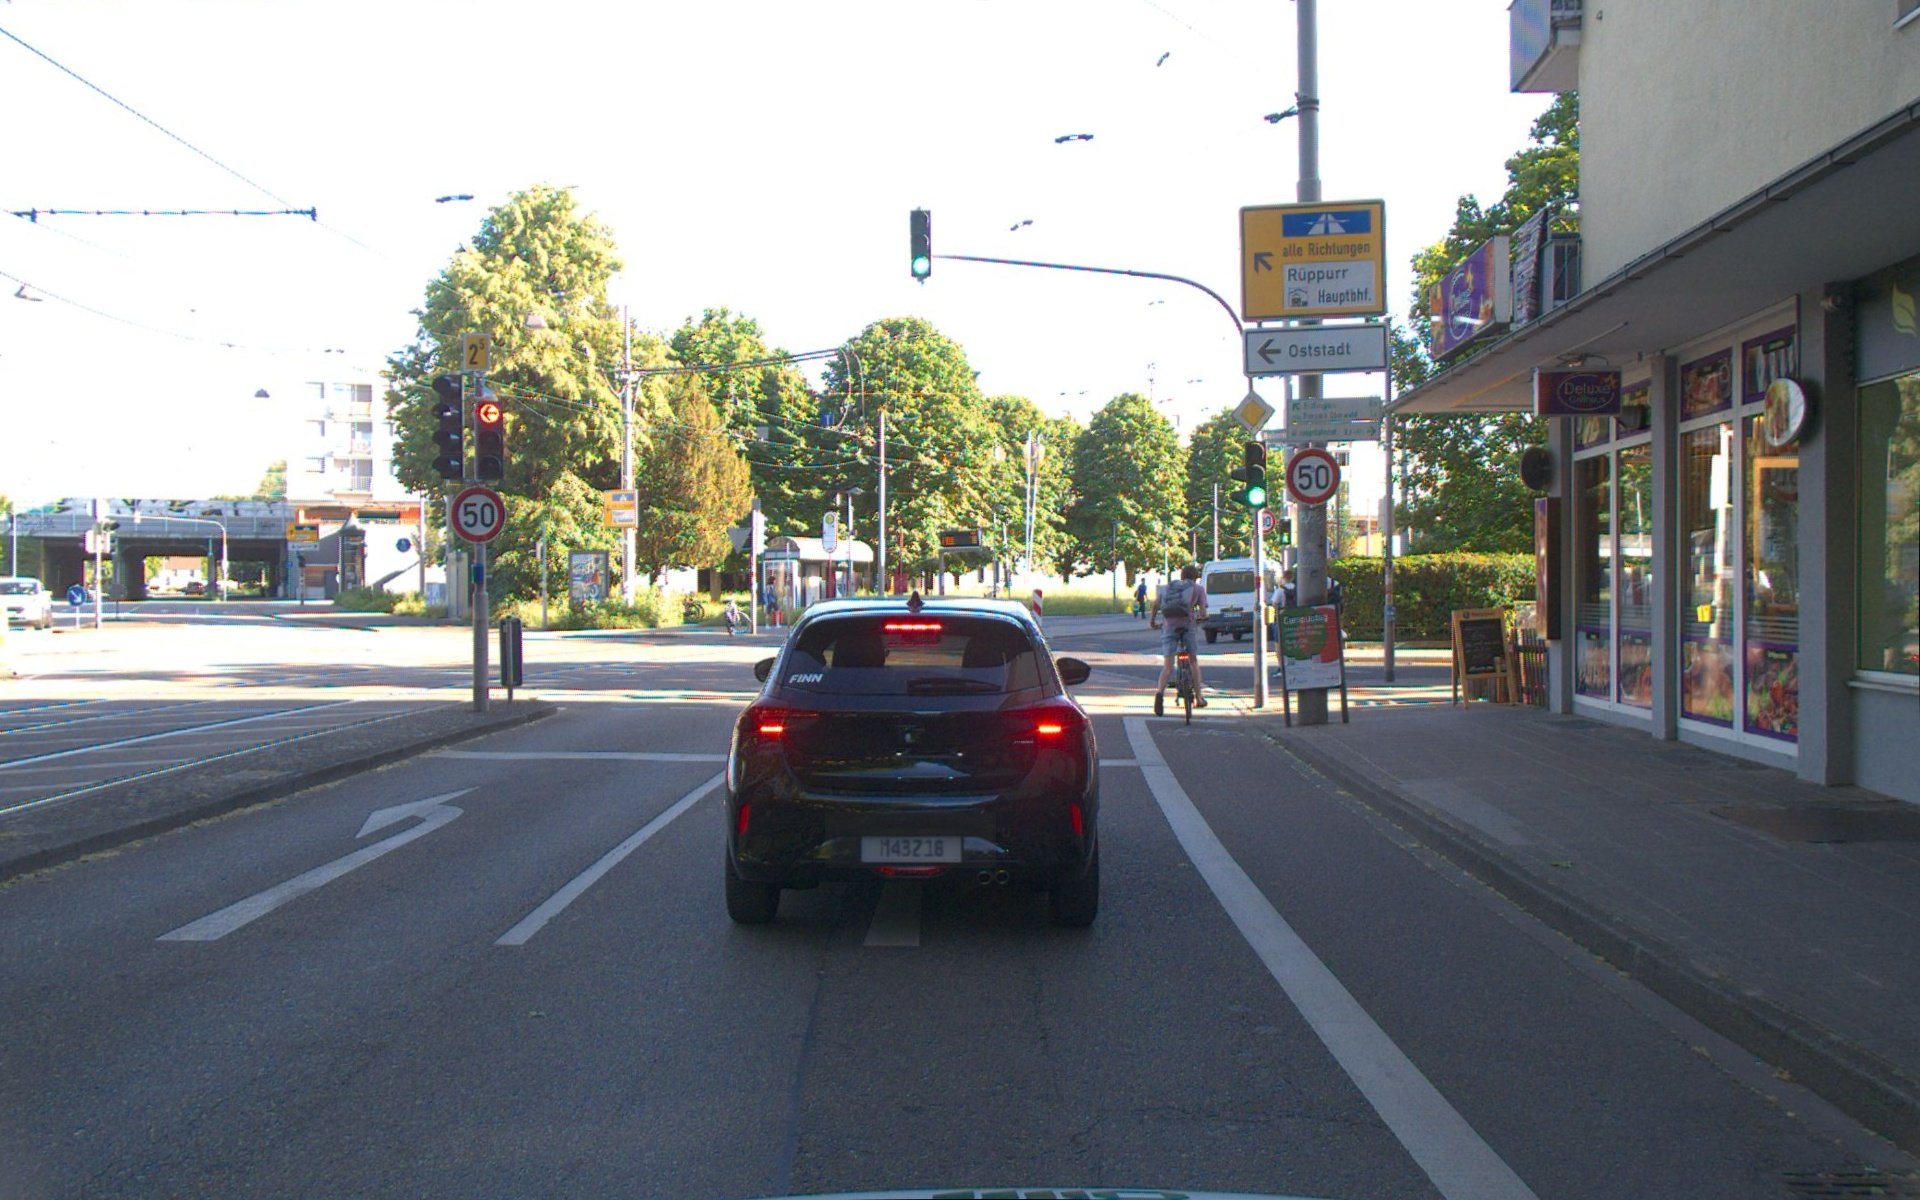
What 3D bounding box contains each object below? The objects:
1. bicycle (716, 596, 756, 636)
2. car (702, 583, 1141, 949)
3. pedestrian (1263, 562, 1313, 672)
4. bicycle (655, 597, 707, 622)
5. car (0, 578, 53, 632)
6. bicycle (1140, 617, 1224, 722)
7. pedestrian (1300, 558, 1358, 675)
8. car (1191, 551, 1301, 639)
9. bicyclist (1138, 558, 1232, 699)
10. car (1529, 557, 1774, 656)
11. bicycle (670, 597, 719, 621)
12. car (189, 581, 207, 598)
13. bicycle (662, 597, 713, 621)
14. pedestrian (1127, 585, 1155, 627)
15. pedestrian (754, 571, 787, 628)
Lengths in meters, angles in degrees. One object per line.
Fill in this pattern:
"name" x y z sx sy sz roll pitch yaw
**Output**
"bicycle" -6.290 0.450 46.485 0.808 1.078 1.883 0 1 2
"car" -0.130 0.653 8.653 1.763 1.466 3.940 0 1 1
"pedestrian" 5.482 0.279 27.664 0.684 1.823 0.617 0 0 -1
"bicycle" -10.721 0.365 63.623 1.837 0.922 0.660 0 0 6
"car" -30.671 0.129 53.733 1.973 1.660 4.582 -1 1 -31
"bicycle" 2.503 0.760 18.835 0.653 1.078 2.082 0 1 -1
"pedestrian" 6.012 0.256 26.944 0.691 1.878 0.697 0 0 39
"car" 8.023 -0.128 46.104 2.047 2.317 4.304 1 0 23
"bicyclist" 2.534 0.302 18.771 0.823 1.536 1.368 0 0 -3
"car" 13.538 0.164 32.594 4.087 1.846 1.807 0 -3 8
"bicycle" -10.508 0.363 65.482 1.837 0.922 0.660 0 0 6
"car" -99.024 -1.370 214.982 1.970 2.049 3.965 1 0 -27
"bicycle" -10.641 0.365 64.609 1.837 0.922 0.660 0 0 6
"pedestrian" 7.846 0.246 71.660 0.939 1.824 0.995 0 0 25
"pedestrian" -5.758 -0.027 50.259 0.714 1.722 0.697 0 0 41
